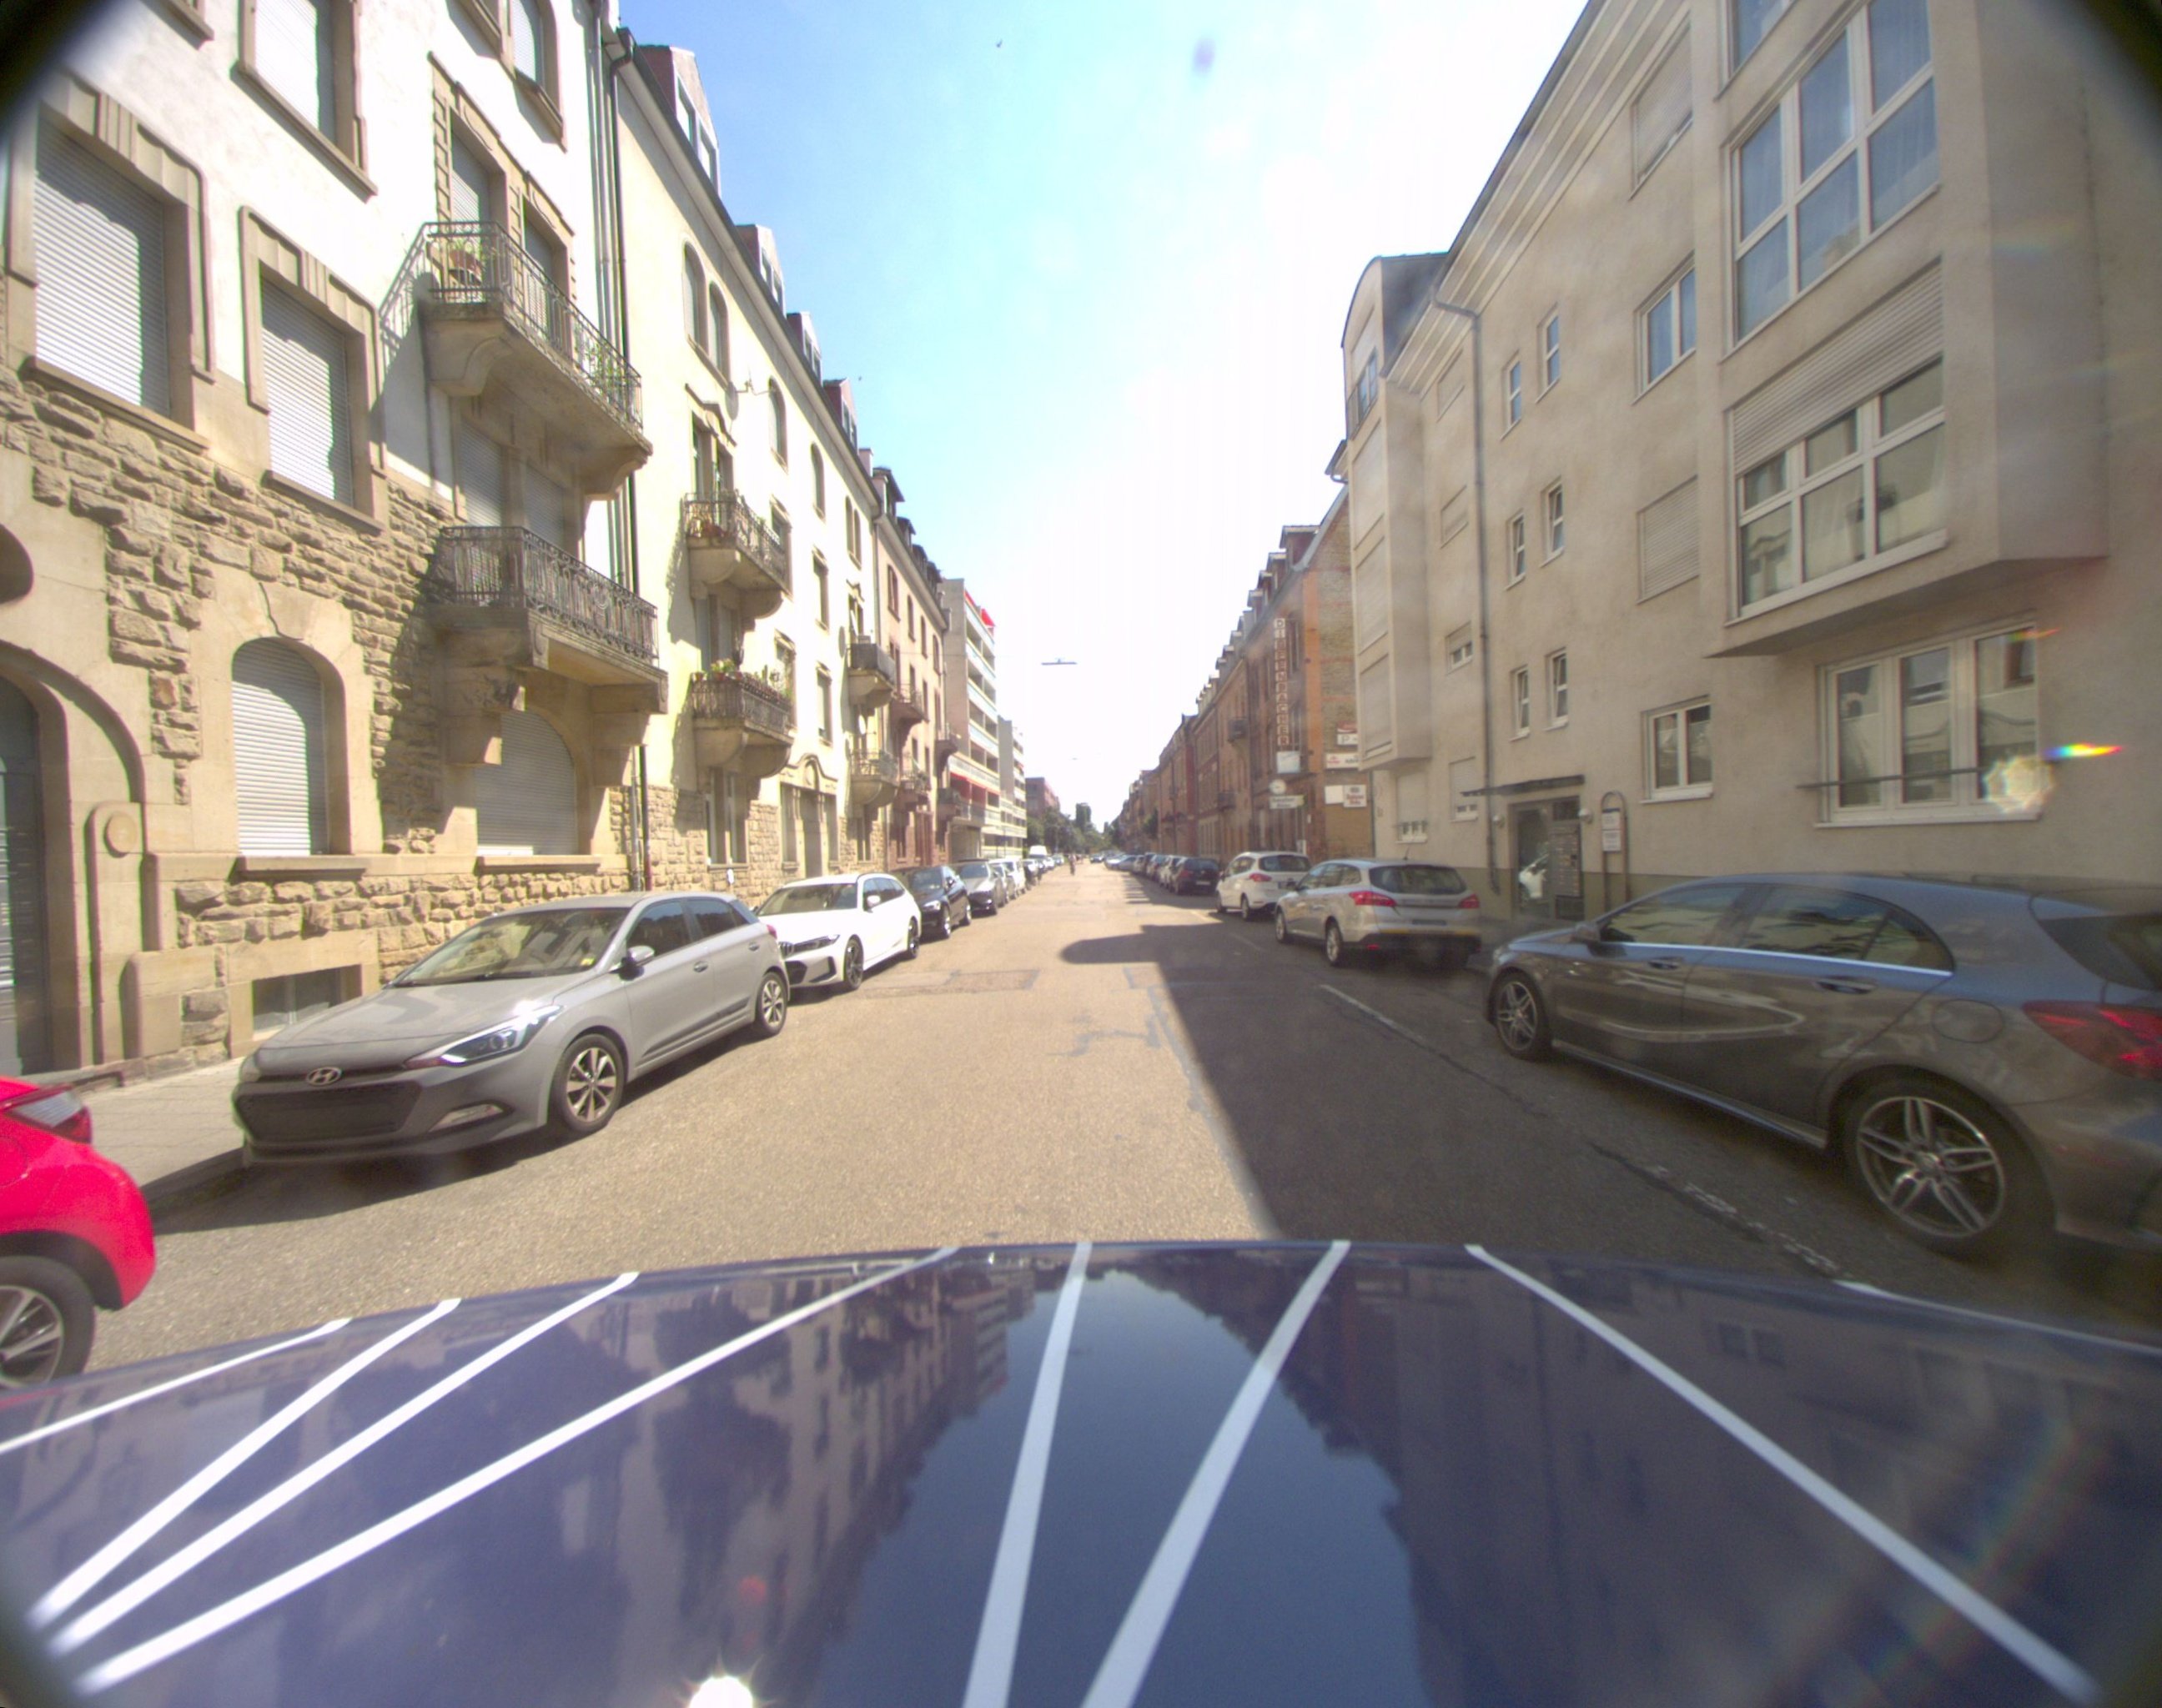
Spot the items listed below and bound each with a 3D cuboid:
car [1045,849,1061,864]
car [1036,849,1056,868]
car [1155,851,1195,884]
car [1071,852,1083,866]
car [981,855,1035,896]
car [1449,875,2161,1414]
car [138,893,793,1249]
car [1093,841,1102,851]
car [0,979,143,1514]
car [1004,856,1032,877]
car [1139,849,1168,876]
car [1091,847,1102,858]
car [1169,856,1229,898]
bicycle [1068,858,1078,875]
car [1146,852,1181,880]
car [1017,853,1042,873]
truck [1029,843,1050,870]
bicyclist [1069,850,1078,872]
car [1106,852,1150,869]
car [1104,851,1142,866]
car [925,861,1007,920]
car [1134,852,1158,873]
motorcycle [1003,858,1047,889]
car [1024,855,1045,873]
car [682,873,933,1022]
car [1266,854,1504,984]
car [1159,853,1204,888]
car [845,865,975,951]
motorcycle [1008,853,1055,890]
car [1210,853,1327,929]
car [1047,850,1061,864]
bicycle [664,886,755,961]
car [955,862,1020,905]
[{"bbox_3d":[-3.765,0.295,102.617,1.902,2.002,3.999,-2,1,1],"label":"car"},{"bbox_3d":[-3.886,0.516,84.956,1.902,2.002,3.999,-2,1,1],"label":"car"},{"bbox_3d":[4.782,0.646,39.217,1.450,1.534,3.524,2,1,-2],"label":"car"},{"bbox_3d":[-0.570,0.793,120.803,1.826,2.002,3.867,-2,1,1],"label":"car"},{"bbox_3d":[-3.126,0.894,33.283,1.651,1.613,4.092,-1,1,5],"label":"car"},{"bbox_3d":[3.973,0.895,4.148,1.769,1.385,4.347,0,1,-1],"label":"car"},{"bbox_3d":[-3.808,1.189,5.718,1.593,1.444,3.856,-4,1,2],"label":"car"},{"bbox_3d":[3.644,-1.818,168.624,1.785,2.002,4.000,-2,1,3],"label":"car"},{"bbox_3d":[-3.847,1.193,0.498,1.574,1.444,3.842,-4,1,0],"label":"car"},{"bbox_3d":[-4.823,0.924,58.741,1.754,1.484,3.902,-2,1,1],"label":"car"},{"bbox_3d":[4.712,0.532,49.761,1.450,1.633,3.525,2,1,0],"label":"car"},{"bbox_3d":[2.446,-0.293,120.752,1.625,1.601,3.597,-2,1,0],"label":"car"},{"bbox_3d":[4.471,0.822,29.301,1.781,1.421,3.836,2,1,2],"label":"car"},{"bbox_3d":[-0.576,0.928,57.881,0.671,1.169,2.094,-2,1,1],"label":"bicycle"},{"bbox_3d":[4.690,0.648,43.564,1.450,1.464,3.525,2,1,-1],"label":"car"},{"bbox_3d":[-4.290,0.743,63.465,1.754,1.484,3.902,-2,1,1],"label":"car"},{"bbox_3d":[-4.344,0.184,79.750,1.869,2.715,4.507,-2,1,1],"label":"truck"},{"bbox_3d":[-0.581,0.559,57.926,0.645,1.640,0.622,-2,1,1],"label":"bicyclist"},{"bbox_3d":[4.401,0.584,71.432,3.996,1.422,1.678,-2,1,2],"label":"car"},{"bbox_3d":[4.464,0.514,81.729,3.996,1.491,1.652,-2,1,1],"label":"car"},{"bbox_3d":[-3.286,0.998,22.603,1.828,1.423,4.488,-3,0,-2],"label":"car"},{"bbox_3d":[4.667,0.602,54.699,1.450,1.391,3.525,2,1,1],"label":"car"},{"bbox_3d":[-2.982,1.012,40.481,2.197,1.422,0.733,-6,2,-40],"label":"motorcycle"},{"bbox_3d":[-4.413,0.920,72.968,1.717,1.543,3.999,-2,1,1],"label":"car"},{"bbox_3d":[-3.624,1.145,11.105,1.720,1.444,4.597,-4,1,3],"label":"car"},{"bbox_3d":[4.186,0.787,11.323,1.735,1.486,4.347,1,1,-1],"label":"car"},{"bbox_3d":[4.488,0.719,34.350,1.632,1.421,3.678,2,1,2],"label":"car"},{"bbox_3d":[-3.540,1.060,16.645,1.741,1.449,4.667,-2,1,0],"label":"car"},{"bbox_3d":[-2.441,0.866,37.622,2.197,1.613,0.764,-6,2,-40],"label":"motorcycle"},{"bbox_3d":[4.383,0.801,18.342,1.633,1.540,3.852,2,1,-3],"label":"car"},{"bbox_3d":[-3.837,0.449,109.728,1.792,1.844,3.999,-2,1,1],"label":"car"},{"bbox_3d":[-6.996,1.266,14.432,0.641,1.183,2.125,2,1,1],"label":"bicycle"},{"bbox_3d":[-3.378,1.042,28.248,1.791,1.350,4.352,-2,0,1],"label":"car"}]
